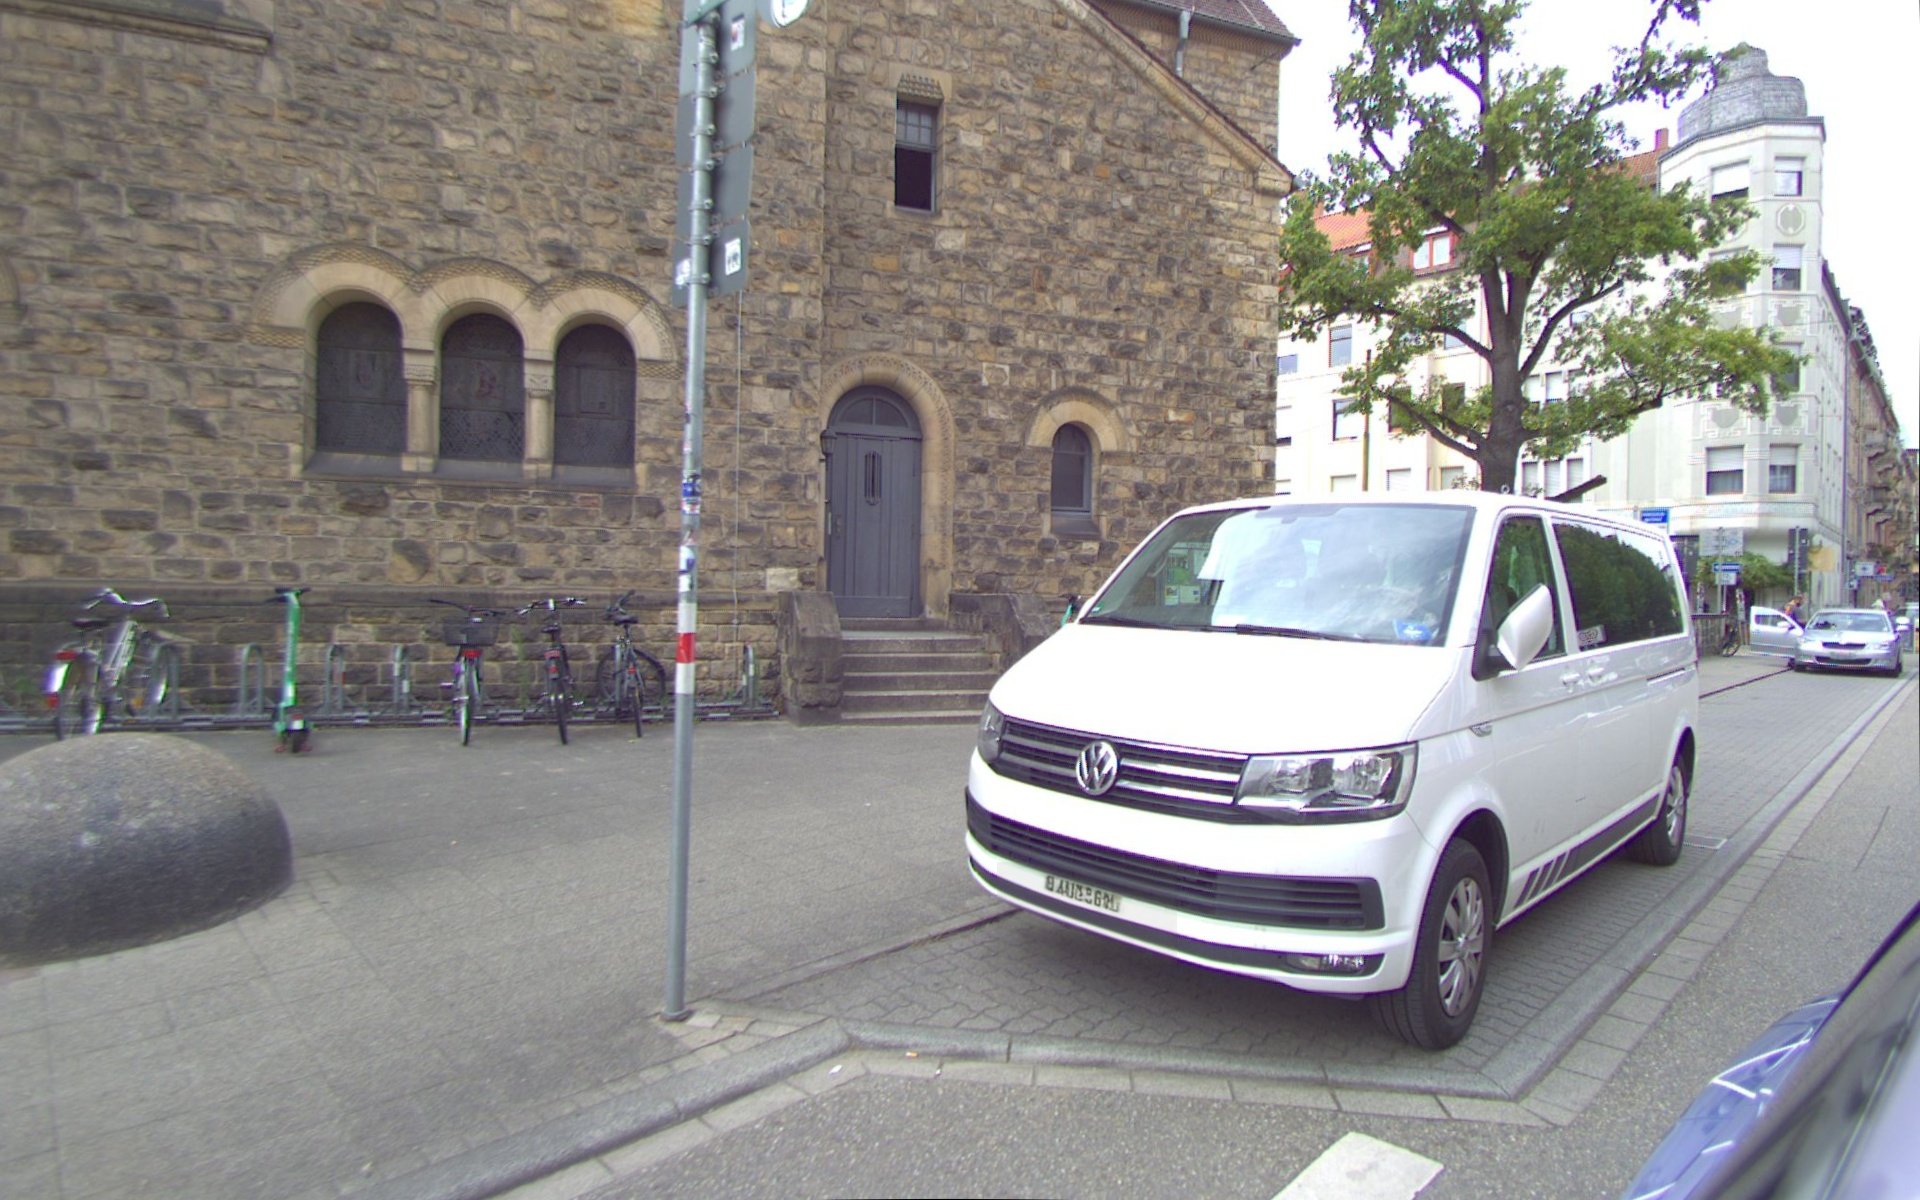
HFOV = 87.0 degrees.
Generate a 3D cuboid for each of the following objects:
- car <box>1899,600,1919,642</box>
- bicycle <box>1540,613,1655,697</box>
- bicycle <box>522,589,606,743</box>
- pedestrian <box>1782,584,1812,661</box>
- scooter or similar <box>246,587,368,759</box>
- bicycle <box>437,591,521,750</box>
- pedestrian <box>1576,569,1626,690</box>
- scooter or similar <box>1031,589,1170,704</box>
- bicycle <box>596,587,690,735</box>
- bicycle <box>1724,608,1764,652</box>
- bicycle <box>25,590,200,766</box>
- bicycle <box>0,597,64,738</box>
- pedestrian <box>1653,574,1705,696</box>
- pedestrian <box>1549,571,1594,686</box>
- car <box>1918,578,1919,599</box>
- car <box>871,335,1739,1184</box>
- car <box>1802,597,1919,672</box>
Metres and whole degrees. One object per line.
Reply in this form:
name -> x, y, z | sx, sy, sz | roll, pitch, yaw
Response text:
car -> 40.345, 0.869, 41.778 | 3.934, 1.693, 1.853 | 1, 0, -40
bicycle -> 9.353, 0.789, 14.840 | 1.716, 1.164, 0.535 | 1, 0, -23
bicycle -> -3.363, 0.491, 8.521 | 0.534, 1.126, 1.778 | 1, 1, -25
pedestrian -> 19.417, 0.512, 23.471 | 0.403, 1.757, 0.468 | 1, 1, -44
scooter or similar -> -5.019, 0.497, 7.869 | 0.534, 1.154, 1.786 | 1, 1, -25
bicycle -> -3.921, 0.511, 8.286 | 0.534, 1.126, 1.786 | 1, 1, -25
pedestrian -> 9.442, 0.422, 14.927 | 0.526, 1.741, 0.505 | 1, 0, 24
scooter or similar -> 1.579, 0.507, 11.372 | 1.450, 1.222, 0.547 | 1, 1, -24
bicycle -> -2.792, 0.469, 8.803 | 0.534, 1.126, 1.786 | 1, 1, -25
bicycle -> 20.747, 0.777, 26.763 | 1.945, 1.119, 0.522 | 1, 0, -43
bicycle -> -6.248, 0.505, 7.552 | 0.534, 1.126, 1.786 | 1, 1, -25
bicycle -> -7.145, 0.485, 7.282 | 0.534, 0.969, 1.786 | 1, 1, -25
pedestrian -> 10.595, 0.500, 14.922 | 0.503, 1.741, 0.527 | 1, 0, 24
pedestrian -> 9.489, 0.433, 15.717 | 0.504, 1.741, 0.527 | 1, 0, 25
car -> 71.336, -0.796, 73.843 | 3.937, 1.533, 1.852 | 1, 0, -42
car -> 2.146, 0.319, 4.958 | 2.015, 2.054, 5.041 | 3, 3, 44
car -> 20.310, 0.717, 22.743 | 1.756, 1.487, 4.347 | 2, 1, 45
